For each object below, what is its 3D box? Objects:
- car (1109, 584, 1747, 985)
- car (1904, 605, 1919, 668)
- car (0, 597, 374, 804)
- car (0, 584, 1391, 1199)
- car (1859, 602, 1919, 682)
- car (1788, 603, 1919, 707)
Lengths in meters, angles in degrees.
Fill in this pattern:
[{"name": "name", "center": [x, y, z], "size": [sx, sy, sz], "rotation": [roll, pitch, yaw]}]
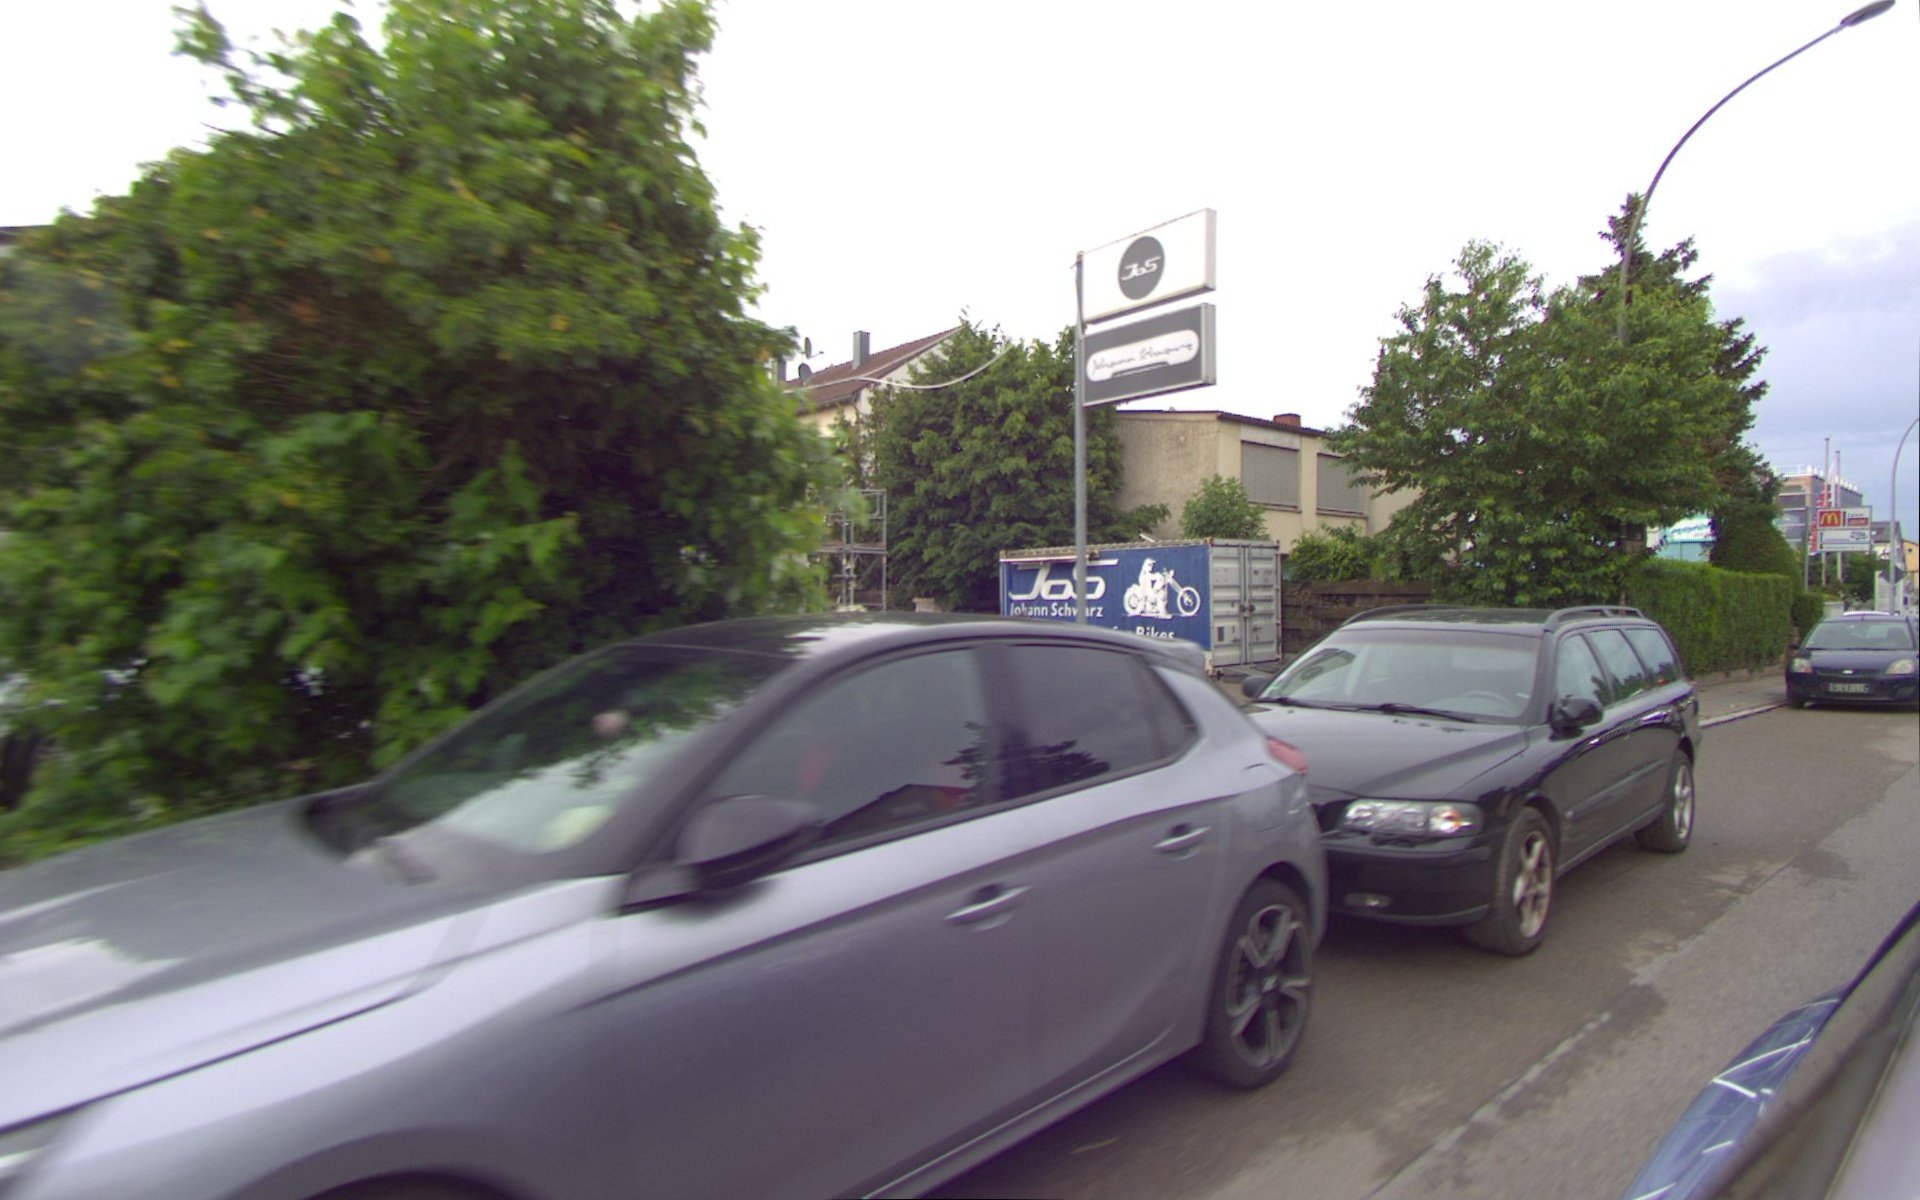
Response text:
[{"name": "car", "center": [2.965, 0.671, 5.857], "size": [4.407, 1.458, 1.764], "rotation": [0, 1, -42]}, {"name": "car", "center": [23.088, 0.803, 23.228], "size": [3.489, 1.414, 1.675], "rotation": [0, -2, -41]}, {"name": "car", "center": [-6.980, 0.701, 8.391], "size": [1.580, 1.386, 3.756], "rotation": [-2, 0, 11]}, {"name": "car", "center": [-0.487, 0.711, 2.838], "size": [3.975, 1.458, 1.654], "rotation": [0, 1, -43]}, {"name": "car", "center": [19.048, 0.776, 19.832], "size": [3.489, 1.483, 1.675], "rotation": [0, -2, -41]}, {"name": "car", "center": [14.772, 0.811, 16.234], "size": [3.625, 1.483, 1.675], "rotation": [0, -2, -41]}]
